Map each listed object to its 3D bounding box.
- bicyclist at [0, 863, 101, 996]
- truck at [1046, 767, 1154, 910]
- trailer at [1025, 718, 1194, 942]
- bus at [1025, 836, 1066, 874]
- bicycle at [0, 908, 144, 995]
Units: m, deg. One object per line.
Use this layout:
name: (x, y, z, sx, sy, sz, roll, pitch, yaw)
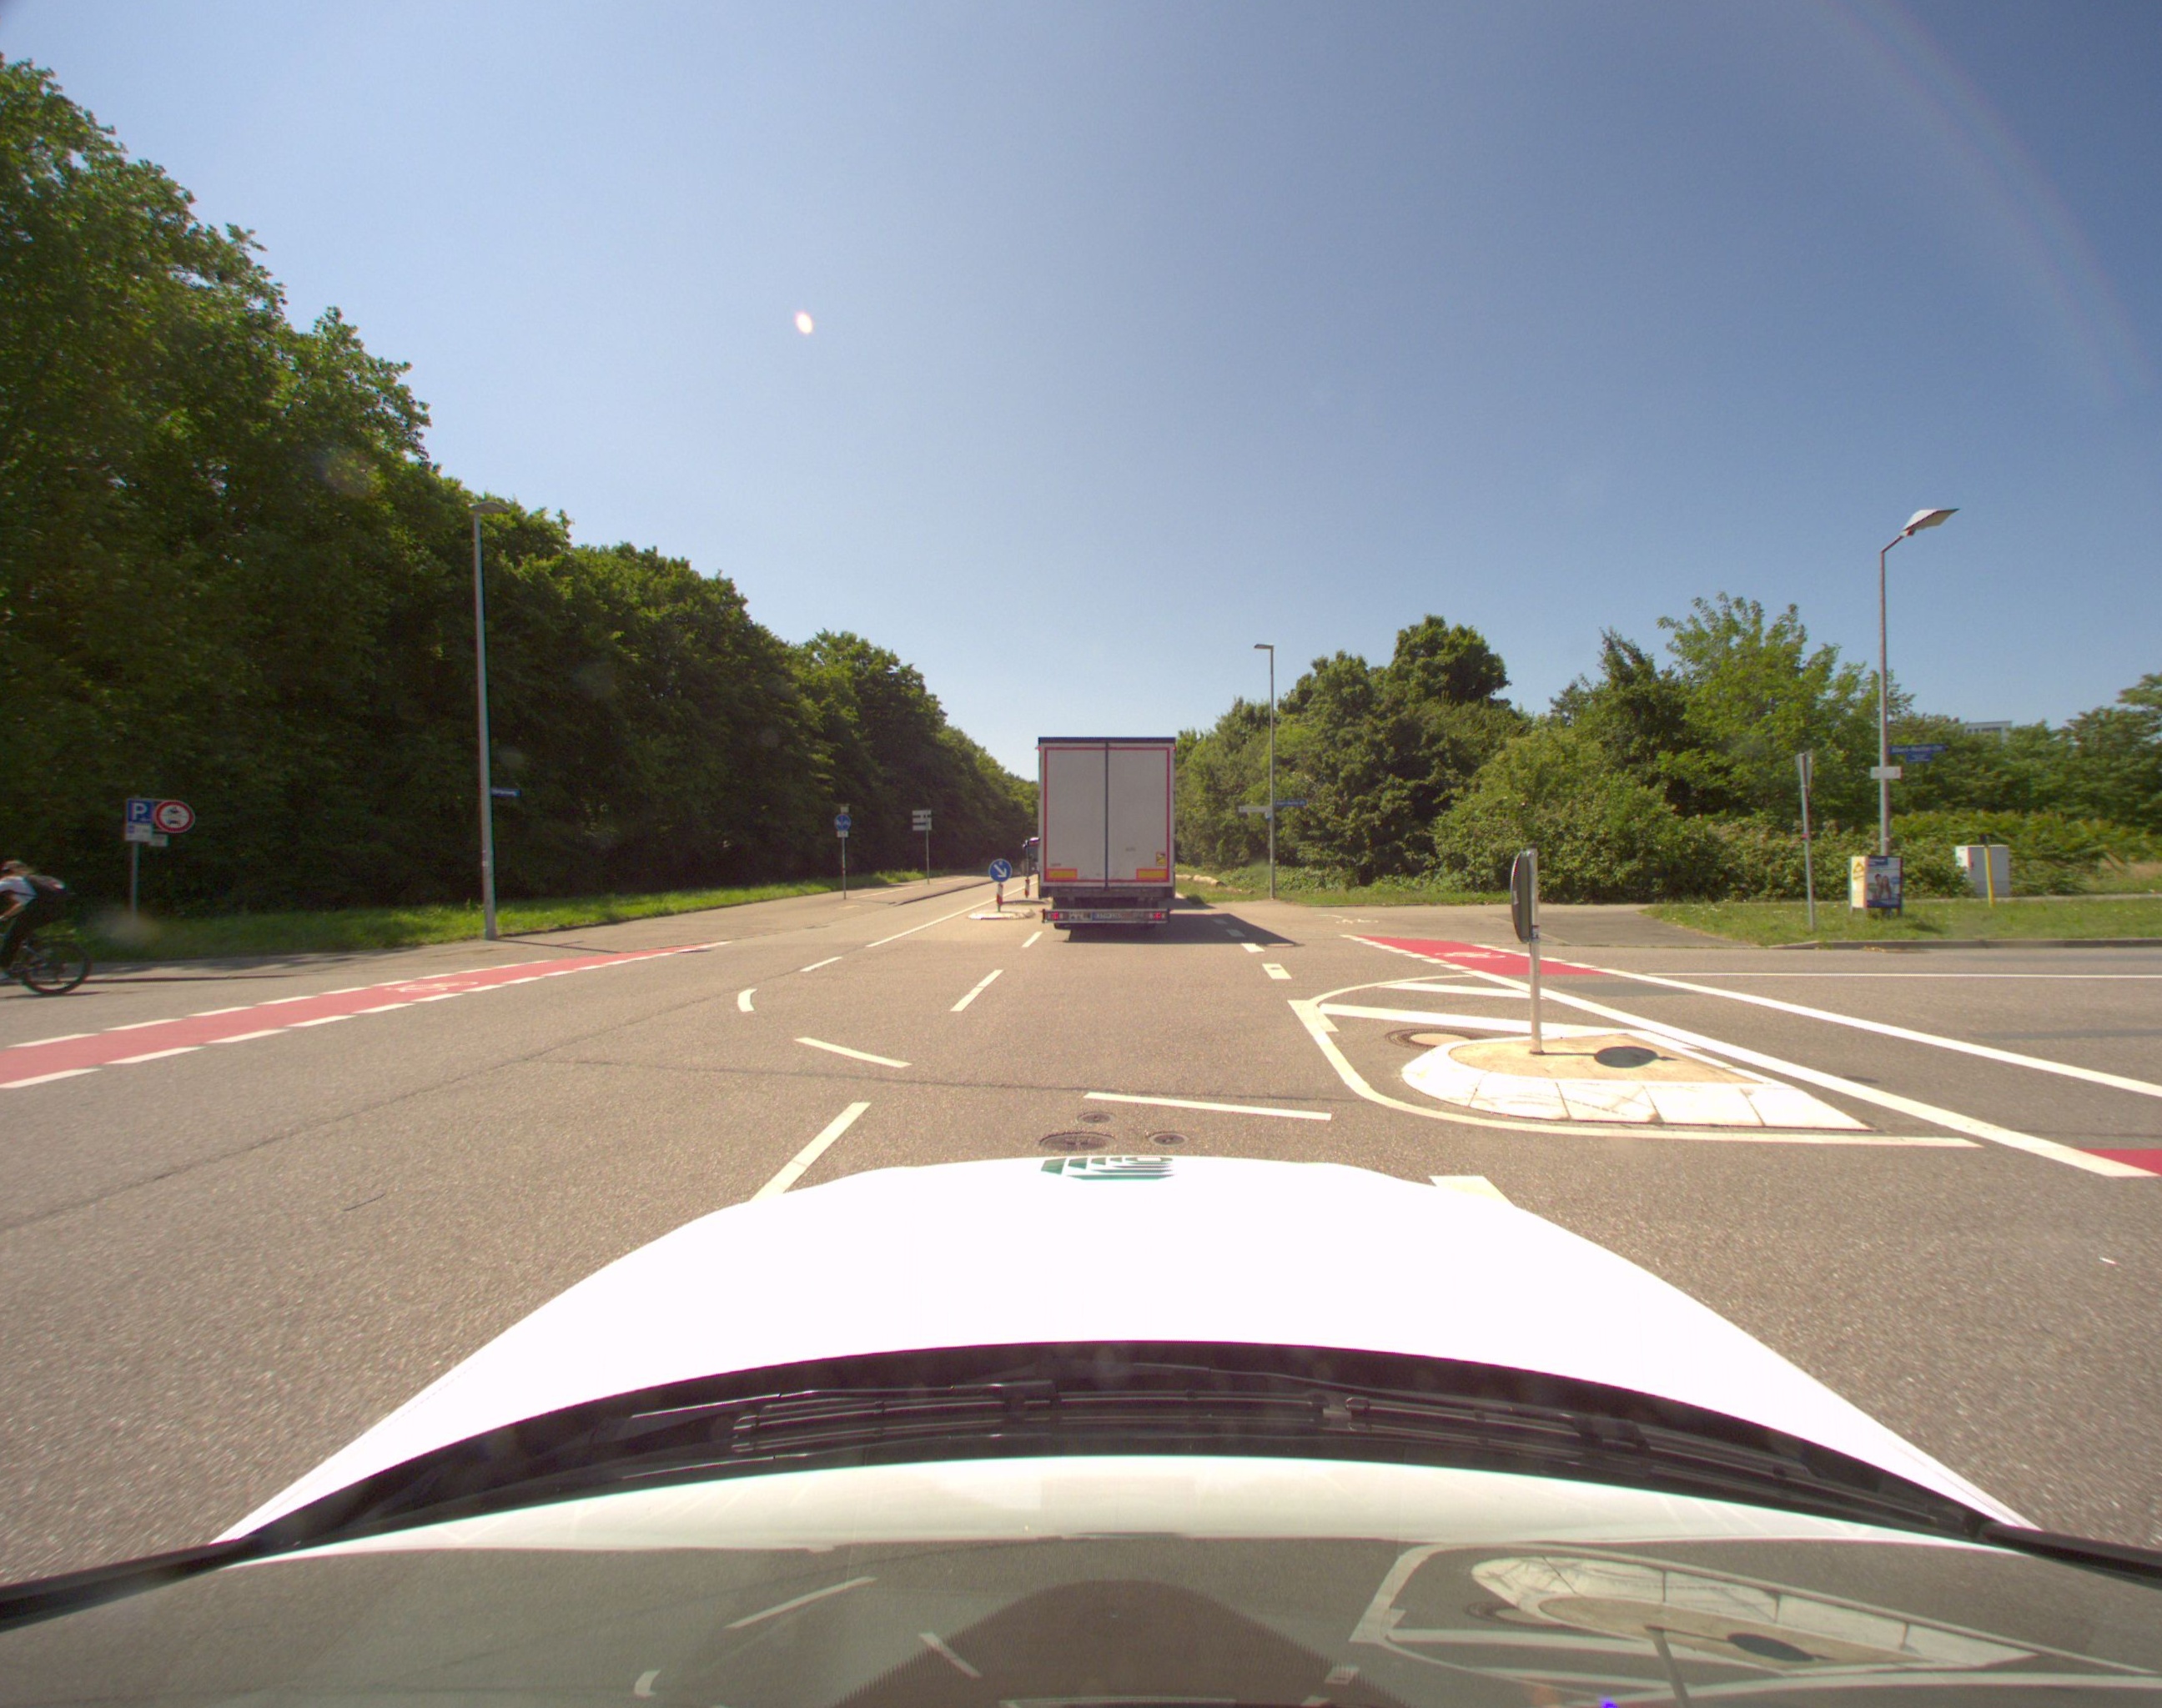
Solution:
bicyclist: (-13.836, 0.974, 10.830, 0.768, 1.706, 0.664, 0, 0, -14)
truck: (0.530, -0.449, 27.203, 3.067, 4.069, 7.957, 0, 0, 0)
trailer: (0.513, -0.456, 19.762, 3.067, 4.069, 9.807, 0, 0, 0)
bus: (-3.120, 0.081, 74.867, 2.739, 3.045, 11.941, -3, 0, 1)
bicycle: (-13.991, 1.285, 10.792, 2.041, 1.055, 0.668, 0, 0, -14)
